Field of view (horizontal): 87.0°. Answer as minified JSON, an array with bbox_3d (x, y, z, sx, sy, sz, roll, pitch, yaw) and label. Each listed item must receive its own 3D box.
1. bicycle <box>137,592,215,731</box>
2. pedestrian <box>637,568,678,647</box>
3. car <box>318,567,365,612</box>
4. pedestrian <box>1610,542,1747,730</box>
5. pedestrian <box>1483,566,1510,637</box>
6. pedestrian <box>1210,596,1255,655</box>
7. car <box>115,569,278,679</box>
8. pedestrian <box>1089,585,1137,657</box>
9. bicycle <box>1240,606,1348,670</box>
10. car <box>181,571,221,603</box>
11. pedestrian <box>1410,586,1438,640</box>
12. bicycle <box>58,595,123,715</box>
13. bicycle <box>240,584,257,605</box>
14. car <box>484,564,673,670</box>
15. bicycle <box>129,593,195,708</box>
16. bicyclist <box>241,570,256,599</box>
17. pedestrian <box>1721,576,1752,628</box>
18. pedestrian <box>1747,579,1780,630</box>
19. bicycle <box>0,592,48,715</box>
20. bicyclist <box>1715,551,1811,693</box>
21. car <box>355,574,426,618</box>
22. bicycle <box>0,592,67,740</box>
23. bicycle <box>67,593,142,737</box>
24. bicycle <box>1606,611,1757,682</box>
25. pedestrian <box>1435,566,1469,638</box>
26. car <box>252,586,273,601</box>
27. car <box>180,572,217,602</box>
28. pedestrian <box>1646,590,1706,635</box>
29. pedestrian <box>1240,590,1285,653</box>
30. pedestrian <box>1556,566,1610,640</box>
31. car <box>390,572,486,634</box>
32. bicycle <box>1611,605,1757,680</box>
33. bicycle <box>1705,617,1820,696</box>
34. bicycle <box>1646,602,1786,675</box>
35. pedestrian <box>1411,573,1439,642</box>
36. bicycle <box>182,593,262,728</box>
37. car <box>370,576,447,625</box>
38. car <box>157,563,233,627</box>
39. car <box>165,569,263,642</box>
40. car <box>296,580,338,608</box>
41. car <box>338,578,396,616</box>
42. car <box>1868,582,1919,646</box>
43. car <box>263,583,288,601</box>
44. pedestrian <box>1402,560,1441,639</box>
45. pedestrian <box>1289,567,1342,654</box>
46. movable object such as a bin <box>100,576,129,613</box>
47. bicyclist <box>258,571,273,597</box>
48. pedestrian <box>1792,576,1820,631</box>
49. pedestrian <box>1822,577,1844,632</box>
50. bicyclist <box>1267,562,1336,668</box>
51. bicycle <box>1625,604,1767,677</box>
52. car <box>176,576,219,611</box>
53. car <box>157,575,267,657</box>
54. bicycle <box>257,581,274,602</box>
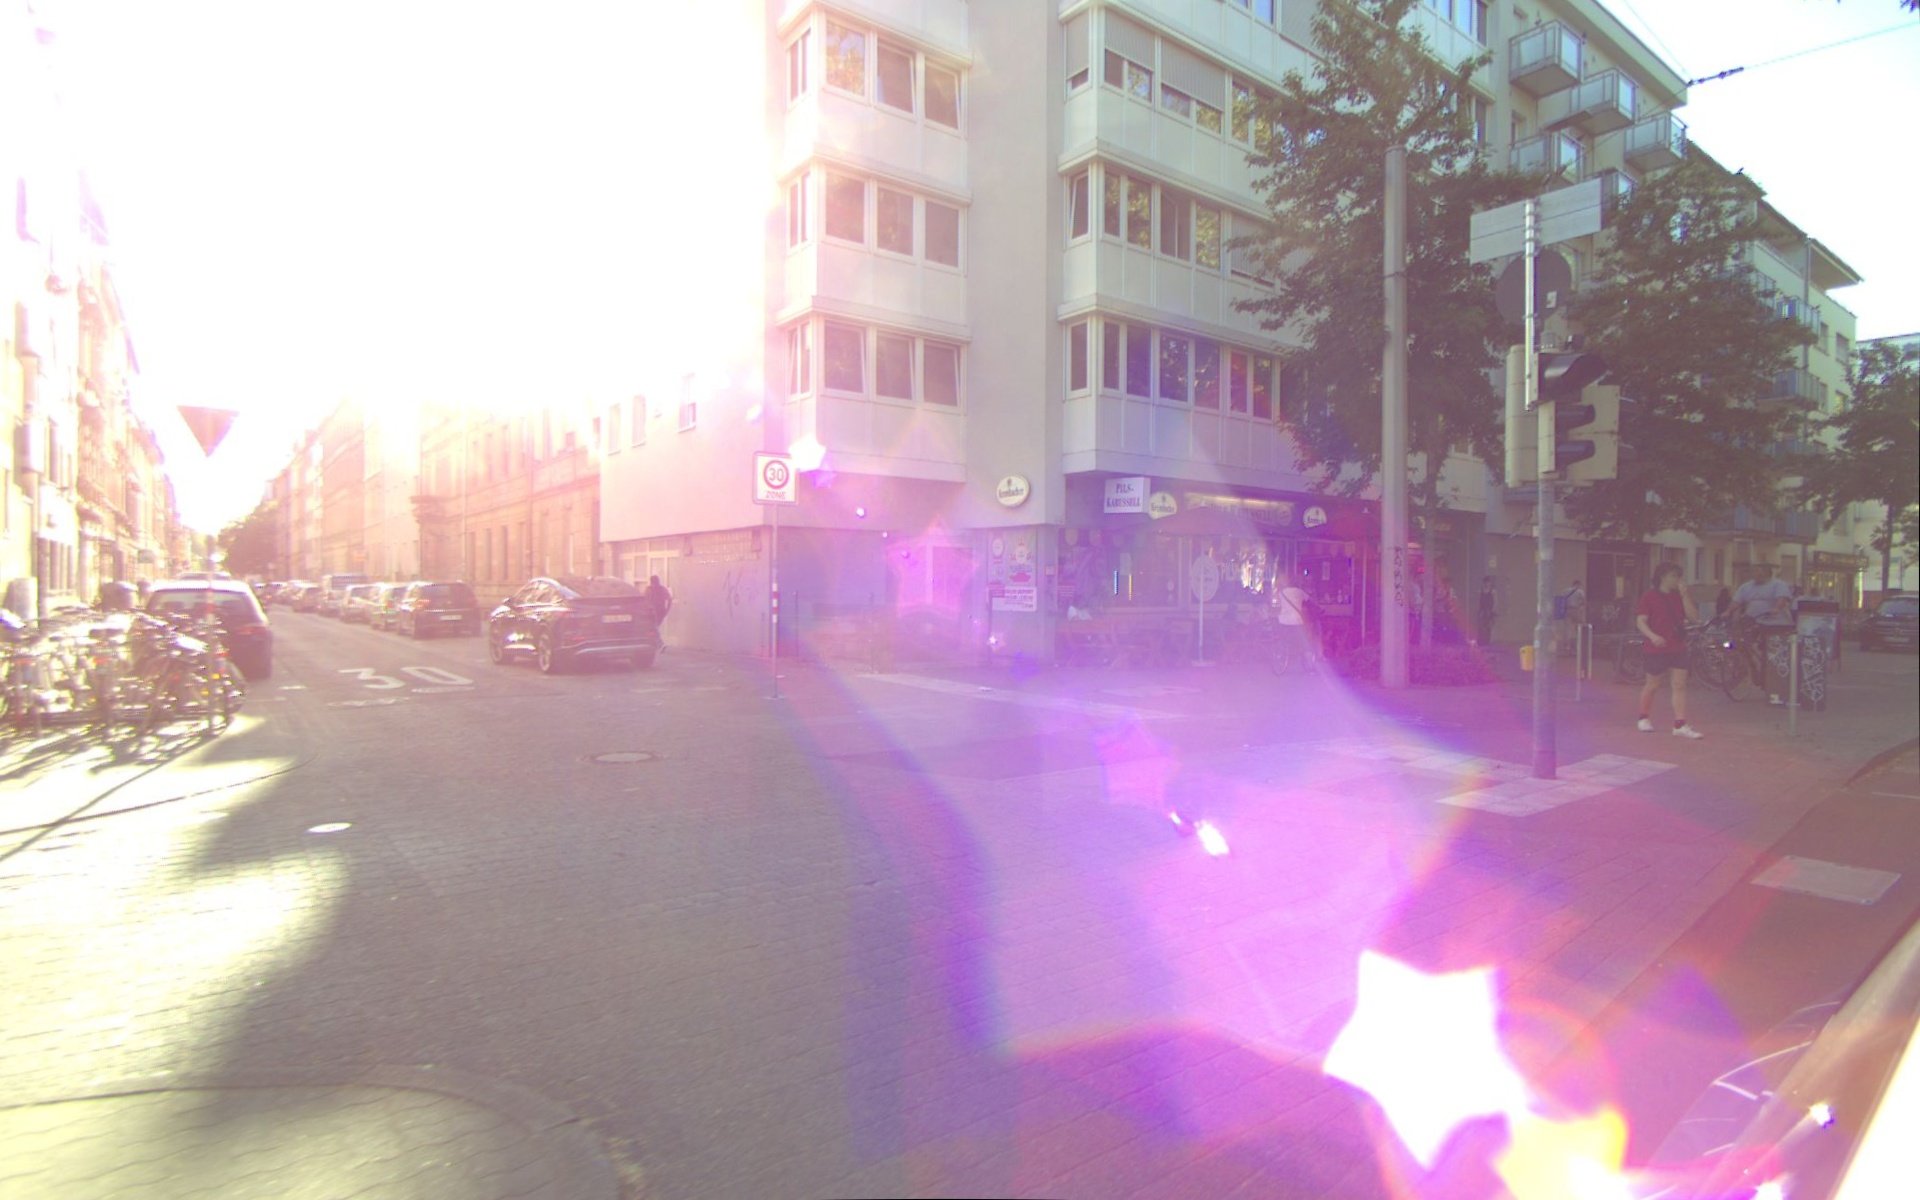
[{"bbox_3d":[-7.798,0.551,10.041,0.502,1.223,1.918,1,1,-40],"label":"bicycle"},{"bbox_3d":[-6.183,0.150,20.701,0.632,1.581,0.553,-2,1,-33],"label":"pedestrian"},{"bbox_3d":[-28.305,-0.487,46.288,1.706,1.971,4.228,-1,0,-33],"label":"car"},{"bbox_3d":[7.235,0.338,10.251,0.867,1.780,1.041,-1,0,21],"label":"pedestrian"},{"bbox_3d":[13.847,0.030,26.128,0.480,1.819,0.432,-1,0,-39],"label":"pedestrian"},{"bbox_3d":[5.212,0.478,19.334,0.512,1.092,0.643,-1,0,-39],"label":"pedestrian"},{"bbox_3d":[-12.362,0.308,16.509,1.835,1.496,4.599,2,0,-36],"label":"car"},{"bbox_3d":[2.862,0.379,18.957,0.702,1.303,0.537,-1,0,-36],"label":"pedestrian"},{"bbox_3d":[5.631,0.618,17.021,1.984,0.975,0.679,-1,0,-35],"label":"bicycle"},{"bbox_3d":[-49.849,-0.837,66.451,1.964,2.039,3.996,-1,0,-38],"label":"car"},{"bbox_3d":[11.293,0.310,24.625,0.502,1.292,0.623,-1,0,15],"label":"pedestrian"},{"bbox_3d":[-9.660,0.560,11.257,0.502,1.223,1.917,-1,0,-40],"label":"bicycle"},{"bbox_3d":[-42.601,-0.323,60.582,0.697,1.248,2.319,-1,0,-38],"label":"bicycle"},{"bbox_3d":[-6.832,0.238,17.852,1.932,1.612,4.259,-2,1,-38],"label":"car"},{"bbox_3d":[-9.208,0.533,11.660,0.502,1.223,1.917,1,-1,-40],"label":"bicycle"},{"bbox_3d":[-42.543,-0.913,60.484,0.669,1.685,0.795,-1,0,-38],"label":"bicyclist"},{"bbox_3d":[26.331,0.054,34.308,0.918,1.698,0.597,-1,3,-40],"label":"pedestrian"},{"bbox_3d":[26.803,0.141,33.756,0.854,1.658,0.643,0,2,-39],"label":"pedestrian"},{"bbox_3d":[-10.153,0.533,10.830,0.502,1.223,1.917,-1,1,-40],"label":"bicycle"},{"bbox_3d":[10.976,0.281,13.827,1.079,1.854,0.769,-1,0,-37],"label":"bicyclist"},{"bbox_3d":[-20.566,-0.157,36.495,1.961,1.469,4.001,-1,0,-33],"label":"car"},{"bbox_3d":[-8.656,0.552,9.401,0.502,1.223,1.918,0,1,-40],"label":"bicycle"},{"bbox_3d":[-8.198,0.557,9.700,0.502,1.223,1.917,0,1,-40],"label":"bicycle"},{"bbox_3d":[10.975,0.682,15.447,0.473,1.007,1.819,-1,0,-39],"label":"bicycle"},{"bbox_3d":[12.577,0.049,25.896,0.621,1.828,0.526,-1,0,6],"label":"pedestrian"},{"bbox_3d":[-71.704,-0.648,104.015,1.763,1.436,4.000,-1,0,-35],"label":"car"},{"bbox_3d":[-53.453,-0.888,70.983,1.964,2.039,3.996,-1,0,-38],"label":"car"},{"bbox_3d":[16.830,0.287,23.798,0.988,1.040,0.657,-1,0,19],"label":"pedestrian"},{"bbox_3d":[5.912,0.408,19.809,0.512,1.190,0.660,-1,0,-39],"label":"pedestrian"},{"bbox_3d":[15.386,0.077,25.014,0.980,1.806,0.590,-1,0,13],"label":"pedestrian"},{"bbox_3d":[-14.513,0.034,28.021,1.927,1.575,4.001,-1,1,-34],"label":"car"},{"bbox_3d":[11.407,0.641,15.996,0.490,1.114,1.816,-1,0,-45],"label":"bicycle"},{"bbox_3d":[10.972,0.735,13.819,1.903,0.949,0.791,-1,0,-37],"label":"bicycle"},{"bbox_3d":[12.683,0.616,17.029,0.516,1.114,1.820,-1,1,-38],"label":"bicycle"},{"bbox_3d":[11.267,0.173,24.528,0.500,1.649,0.516,-1,0,15],"label":"pedestrian"},{"bbox_3d":[-7.543,0.561,10.314,0.502,1.223,1.918,1,1,-40],"label":"bicycle"},{"bbox_3d":[-17.526,0.001,32.078,1.828,1.436,4.001,-1,0,-33],"label":"car"},{"bbox_3d":[-23.425,-0.148,30.940,1.692,1.839,3.559,-1,0,-40],"label":"car"},{"bbox_3d":[-18.513,0.112,25.041,1.803,1.642,4.069,-1,0,-38],"label":"car"},{"bbox_3d":[-34.545,-0.323,54.308,1.835,1.436,4.001,-1,0,-33],"label":"car"},{"bbox_3d":[-23.478,-0.130,40.004,1.760,1.436,4.001,-1,0,-33],"label":"car"},{"bbox_3d":[26.748,0.365,27.892,4.250,1.606,1.764,-1,4,-38],"label":"car"},{"bbox_3d":[-55.386,-0.649,81.894,1.605,1.436,4.000,-1,0,-35],"label":"car"},{"bbox_3d":[11.778,-0.023,25.830,0.776,1.979,0.508,-1,0,-28],"label":"pedestrian"},{"bbox_3d":[7.045,0.195,20.090,0.665,1.680,0.815,-1,0,-8],"label":"pedestrian"},{"bbox_3d":[-32.352,-0.216,38.720,0.852,1.406,0.853,-1,0,-41],"label":"movable object such as a bin"},{"bbox_3d":[-41.865,-0.980,60.995,0.669,1.553,0.795,-1,0,-38],"label":"bicyclist"},{"bbox_3d":[29.528,0.109,35.314,0.530,1.875,0.663,0,0,-38],"label":"pedestrian"},{"bbox_3d":[29.906,0.148,34.663,0.652,1.875,0.476,0,0,-40],"label":"pedestrian"},{"bbox_3d":[5.786,0.242,17.142,0.947,1.739,0.679,-1,0,-35],"label":"bicyclist"},{"bbox_3d":[11.943,0.631,16.466,0.473,1.114,1.816,-1,0,-45],"label":"bicycle"},{"bbox_3d":[-46.314,-0.402,61.424,1.964,2.039,3.996,-1,0,-38],"label":"car"},{"bbox_3d":[-15.472,0.280,20.873,1.677,1.528,3.996,-1,0,-38],"label":"car"},{"bbox_3d":[-41.927,-0.518,61.078,0.669,1.248,2.292,-1,0,-38],"label":"bicycle"}]
